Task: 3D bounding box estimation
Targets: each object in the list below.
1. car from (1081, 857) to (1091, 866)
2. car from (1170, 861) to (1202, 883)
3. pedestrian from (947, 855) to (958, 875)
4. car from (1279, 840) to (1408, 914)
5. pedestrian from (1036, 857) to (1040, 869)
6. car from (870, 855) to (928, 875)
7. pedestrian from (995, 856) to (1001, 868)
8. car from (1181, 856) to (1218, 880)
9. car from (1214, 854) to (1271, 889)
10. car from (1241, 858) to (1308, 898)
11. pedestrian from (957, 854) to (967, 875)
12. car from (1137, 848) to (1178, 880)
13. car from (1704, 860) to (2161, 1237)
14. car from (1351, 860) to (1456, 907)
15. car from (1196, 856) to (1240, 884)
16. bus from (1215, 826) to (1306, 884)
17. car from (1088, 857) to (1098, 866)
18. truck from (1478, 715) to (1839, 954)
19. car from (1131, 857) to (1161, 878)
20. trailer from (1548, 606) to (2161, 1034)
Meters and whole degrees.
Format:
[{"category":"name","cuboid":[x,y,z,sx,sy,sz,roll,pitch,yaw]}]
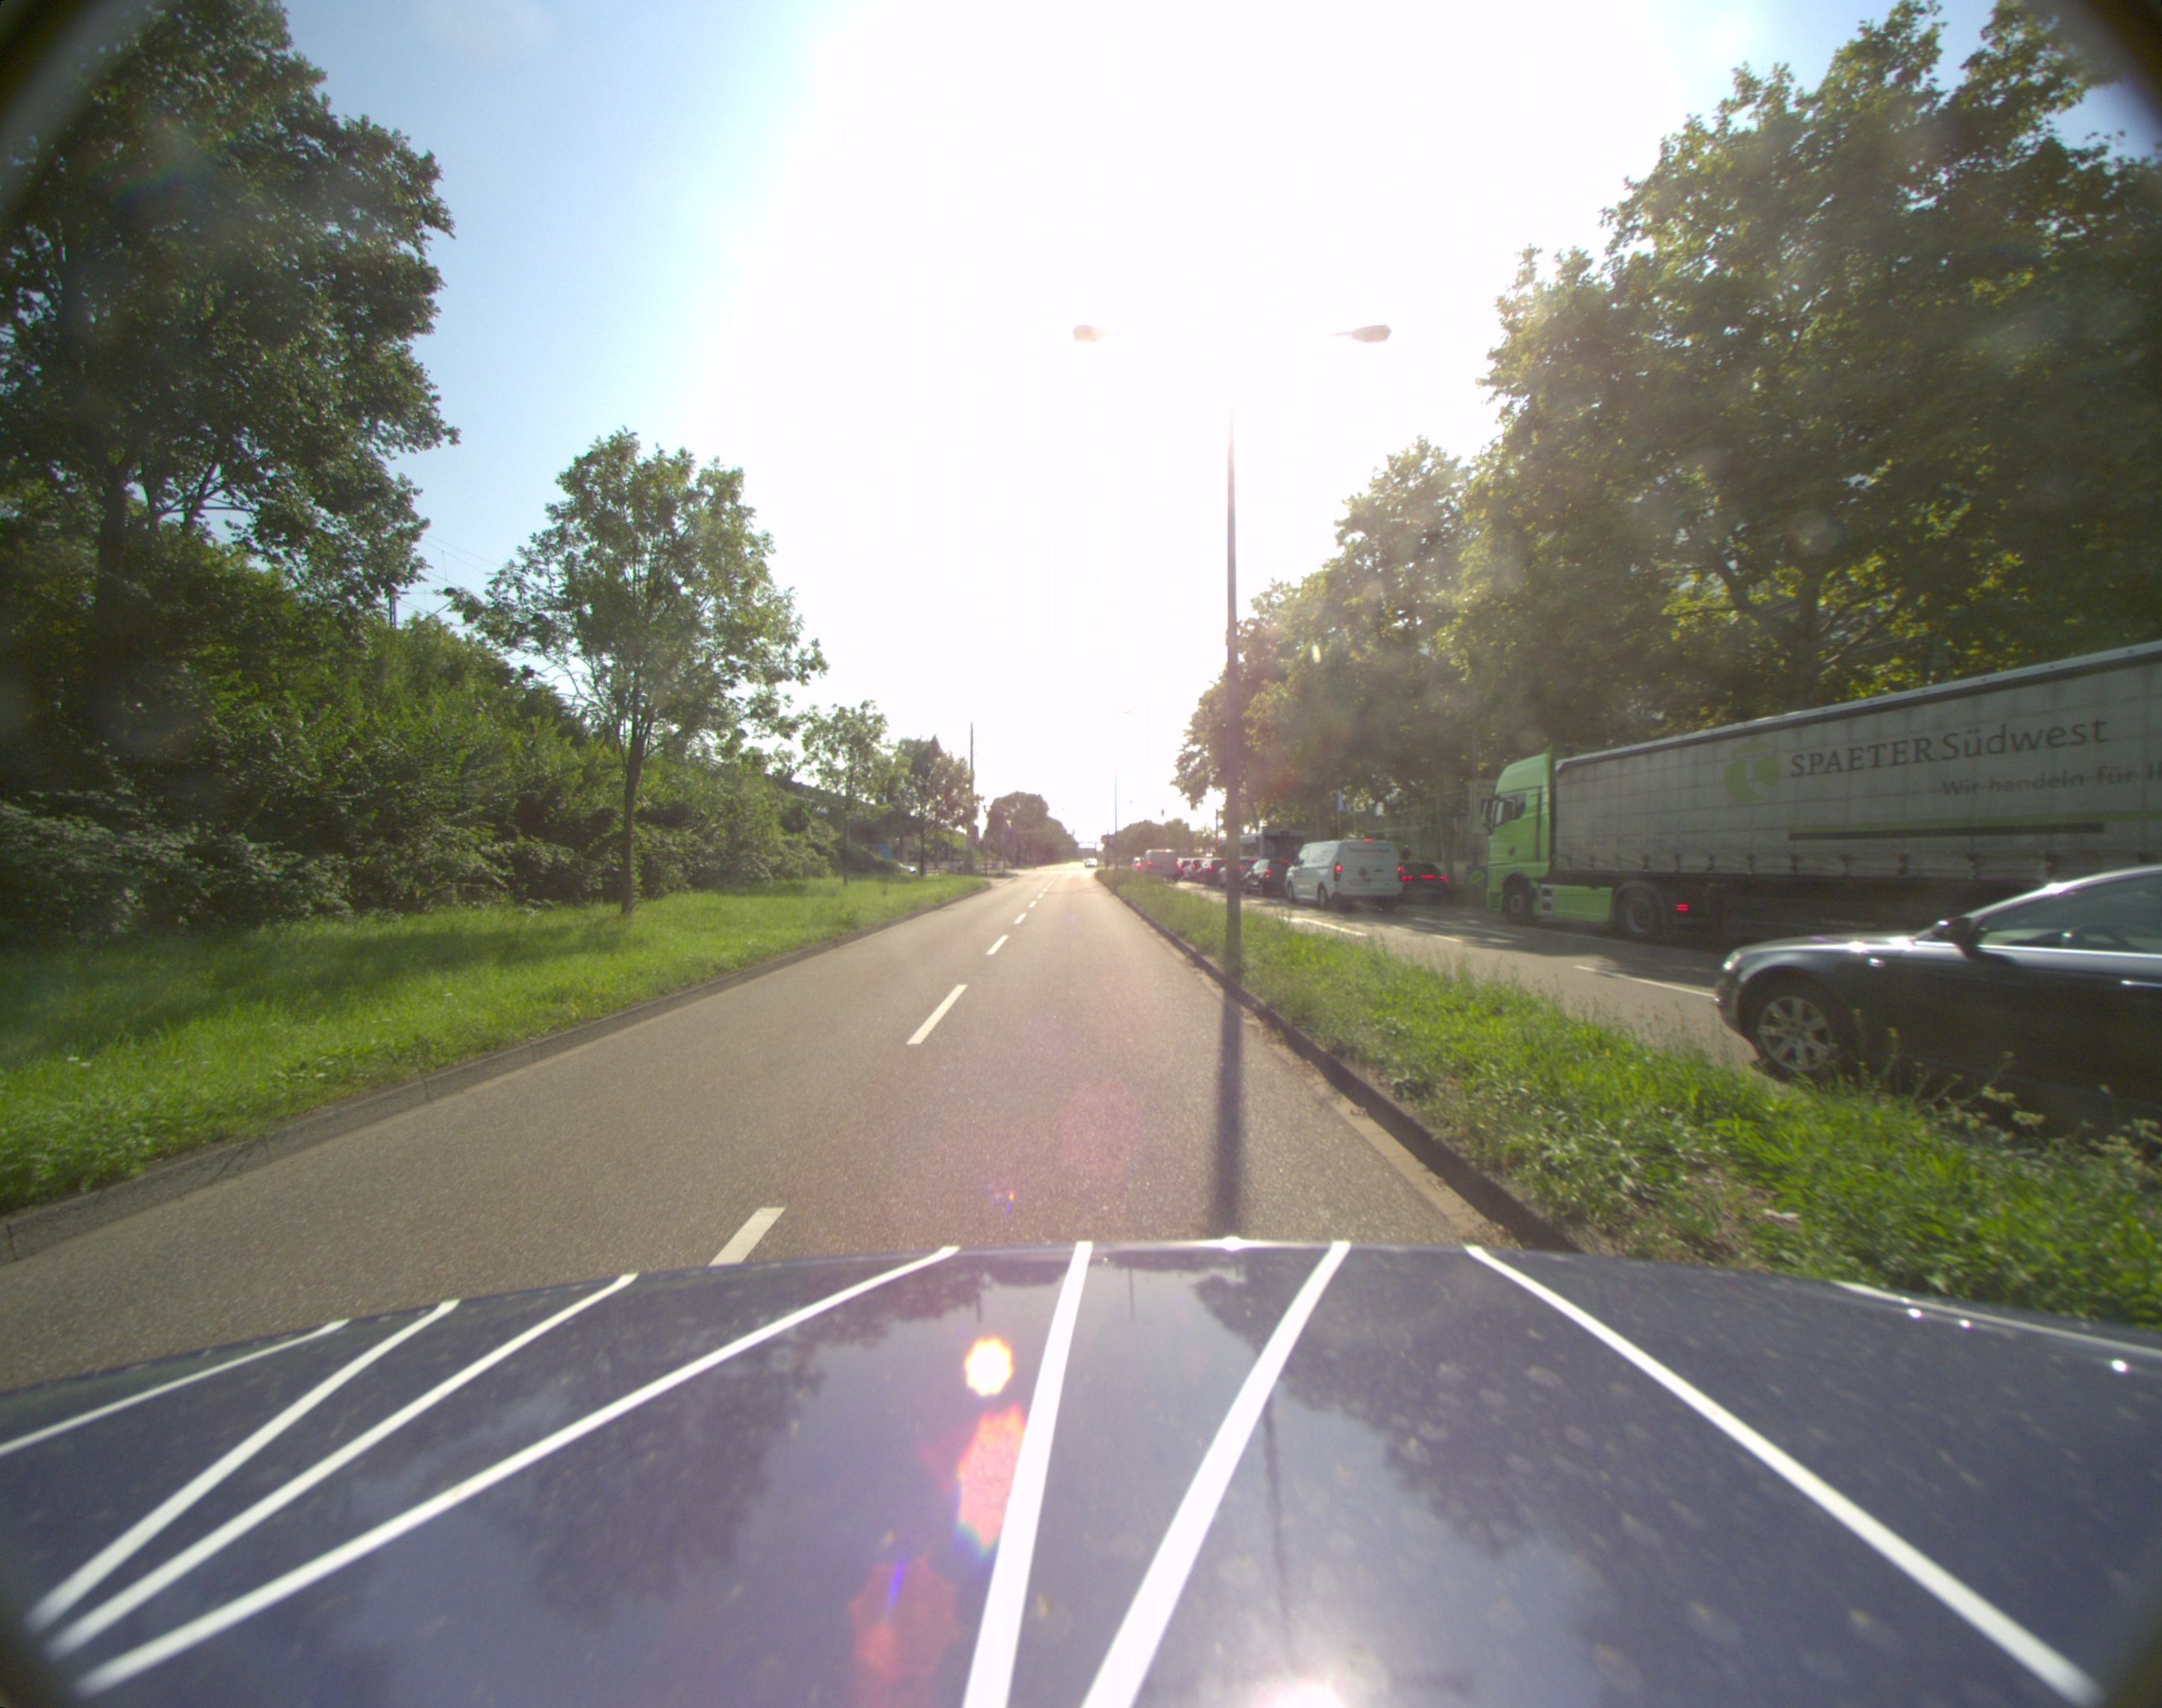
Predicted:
[{"category":"car","cuboid":[1.003,1.450,145.167,1.864,1.584,4.001,0,0,2]},{"category":"car","cuboid":[7.538,1.278,54.719,1.711,1.433,3.999,1,0,-1]},{"category":"pedestrian","cuboid":[-10.096,0.861,59.732,0.573,1.558,0.535,-2,2,-41]},{"category":"car","cuboid":[7.531,0.595,22.411,1.999,1.942,5.035,0,0,-1]},{"category":"pedestrian","cuboid":[-6.339,1.314,110.908,0.587,1.715,0.647,0,1,-5]},{"category":"car","cuboid":[-14.610,0.874,60.885,4.184,1.524,1.874,0,0,22]},{"category":"pedestrian","cuboid":[-11.249,1.112,102.821,0.636,1.565,0.489,-2,1,-42]},{"category":"car","cuboid":[7.636,0.904,49.093,1.711,1.458,3.821,1,-1,-1]},{"category":"car","cuboid":[7.487,0.786,35.648,1.699,1.520,4.139,1,0,-1]},{"category":"car","cuboid":[7.488,0.900,29.719,1.618,1.390,3.857,1,0,1]},{"category":"pedestrian","cuboid":[-9.295,0.804,59.466,0.570,1.672,0.493,-1,1,32]},{"category":"car","cuboid":[4.589,0.592,46.252,1.916,1.852,4.890,1,-1,-1]},{"category":"car","cuboid":[5.177,0.801,2.851,1.751,1.470,4.585,1,0,-2]},{"category":"car","cuboid":[11.030,0.949,26.311,1.651,1.402,4.479,1,0,-1]},{"category":"car","cuboid":[7.582,0.854,42.444,1.651,1.424,4.189,1,0,0]},{"category":"bus","cuboid":[10.663,0.029,46.643,2.597,3.061,12.311,-1,0,0]},{"category":"car","cuboid":[2.022,1.172,124.862,1.544,1.433,3.396,0,-1,3]},{"category":"truck","cuboid":[10.866,-0.313,15.213,2.614,3.797,5.890,1,0,-1]},{"category":"car","cuboid":[4.576,0.945,53.846,1.713,1.394,4.083,1,-1,0]},{"category":"trailer","cuboid":[10.891,-0.288,8.469,2.640,3.799,13.810,1,0,-1]}]
